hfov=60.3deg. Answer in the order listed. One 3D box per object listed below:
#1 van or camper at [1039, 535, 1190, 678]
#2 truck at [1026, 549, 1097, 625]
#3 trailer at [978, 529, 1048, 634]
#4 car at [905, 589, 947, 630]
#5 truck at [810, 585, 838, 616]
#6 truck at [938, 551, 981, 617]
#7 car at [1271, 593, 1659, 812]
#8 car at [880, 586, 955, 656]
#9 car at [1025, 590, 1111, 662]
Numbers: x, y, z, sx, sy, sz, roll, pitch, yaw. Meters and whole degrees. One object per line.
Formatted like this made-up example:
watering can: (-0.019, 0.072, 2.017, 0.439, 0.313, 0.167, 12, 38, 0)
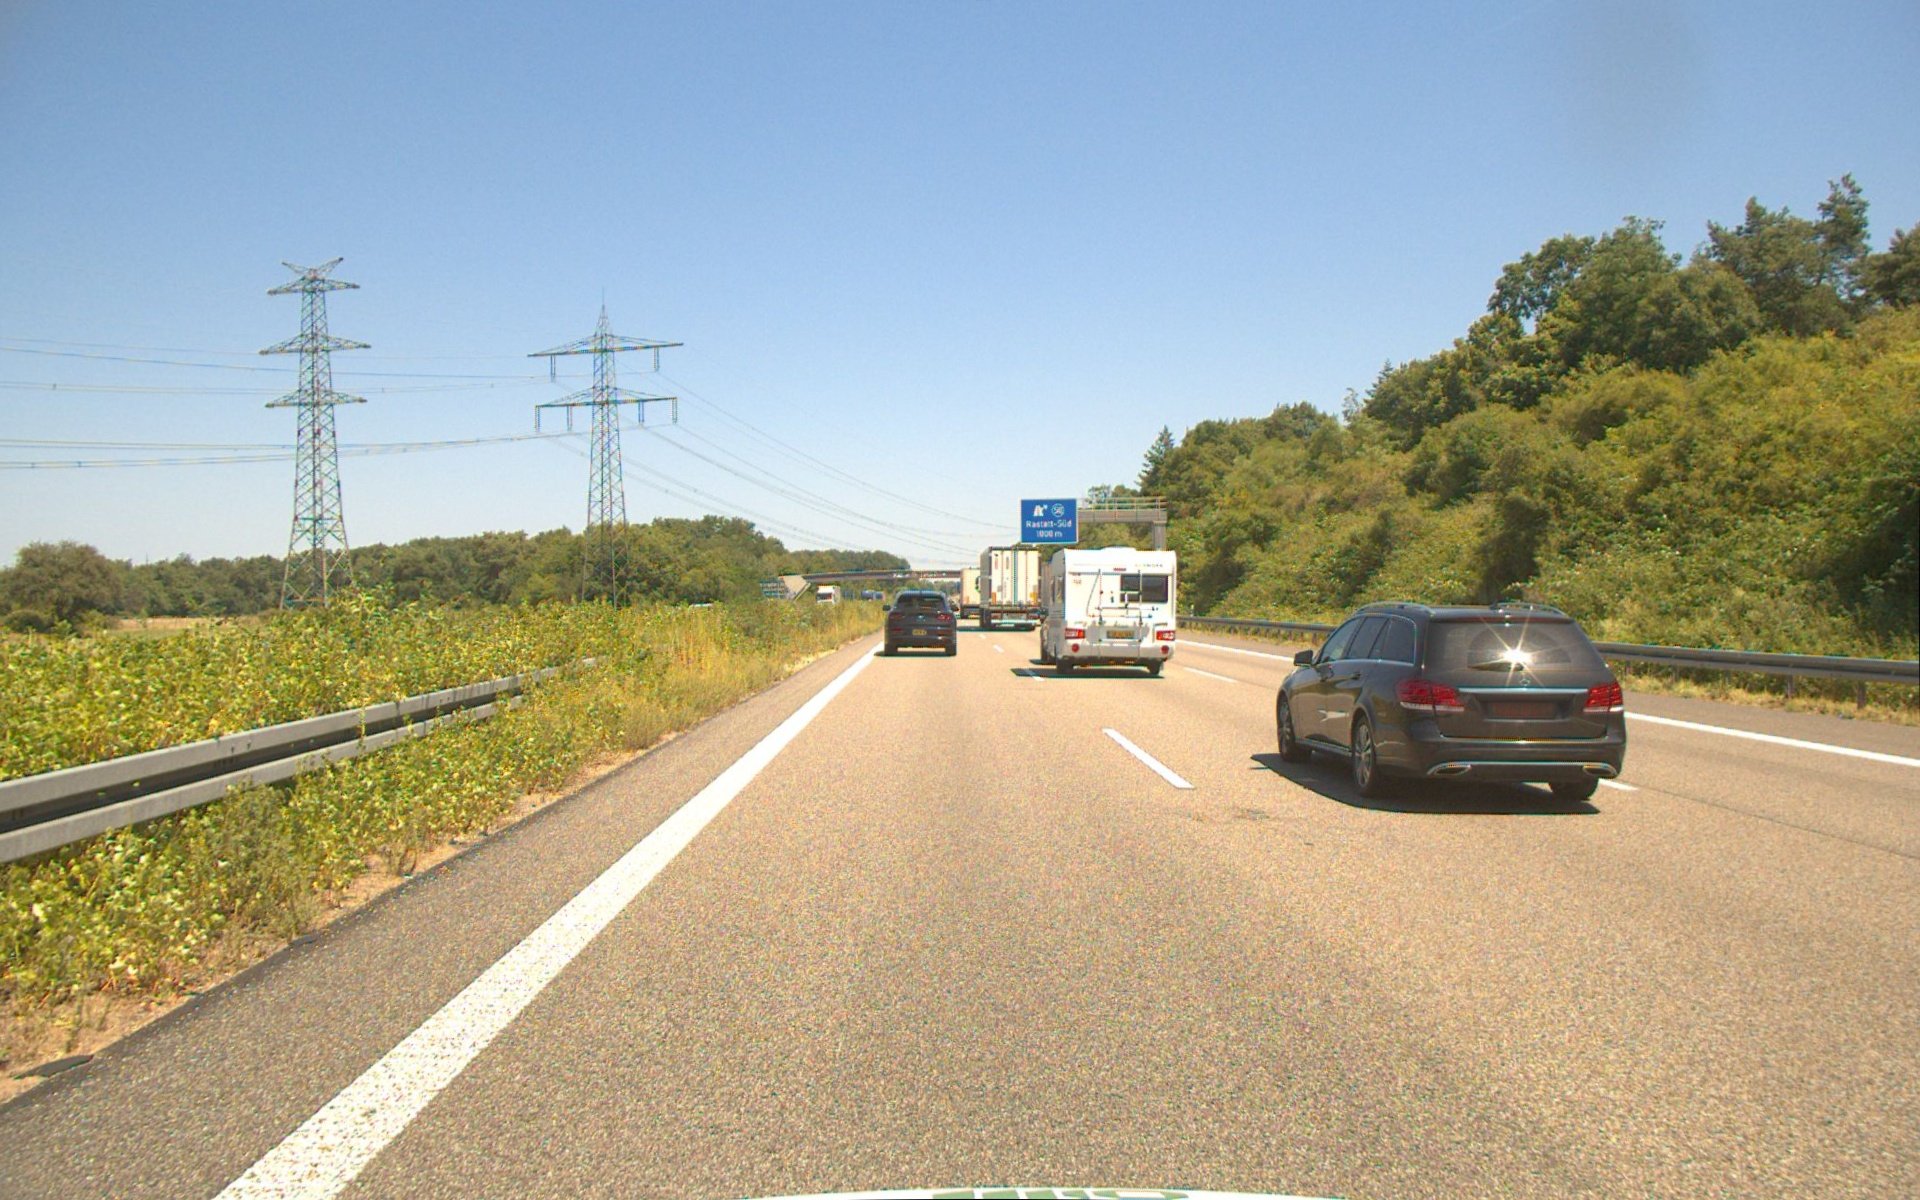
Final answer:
van or camper: (3.134, 0.107, 35.089, 2.390, 2.721, 6.347, -1, 0, -2)
truck: (6.084, -0.718, 101.272, 3.498, 4.319, 11.650, 1, 0, -1)
trailer: (2.611, -0.864, 85.736, 3.024, 4.970, 12.256, 1, 0, -1)
car: (-1.628, 0.420, 78.106, 1.922, 1.846, 4.447, -1, 0, -2)
truck: (-20.645, 0.022, 250.758, 3.298, 4.485, 6.558, -2, 0, 2)
truck: (-0.077, -1.250, 137.223, 3.440, 5.257, 10.257, 0, 0, -1)
car: (4.011, 0.715, 14.036, 1.804, 1.532, 4.737, 0, 0, -1)
car: (-1.165, 0.541, 45.476, 1.953, 1.803, 3.999, -1, 0, -2)
car: (2.589, 0.593, 40.592, 1.840, 1.640, 4.702, -1, 0, 1)
